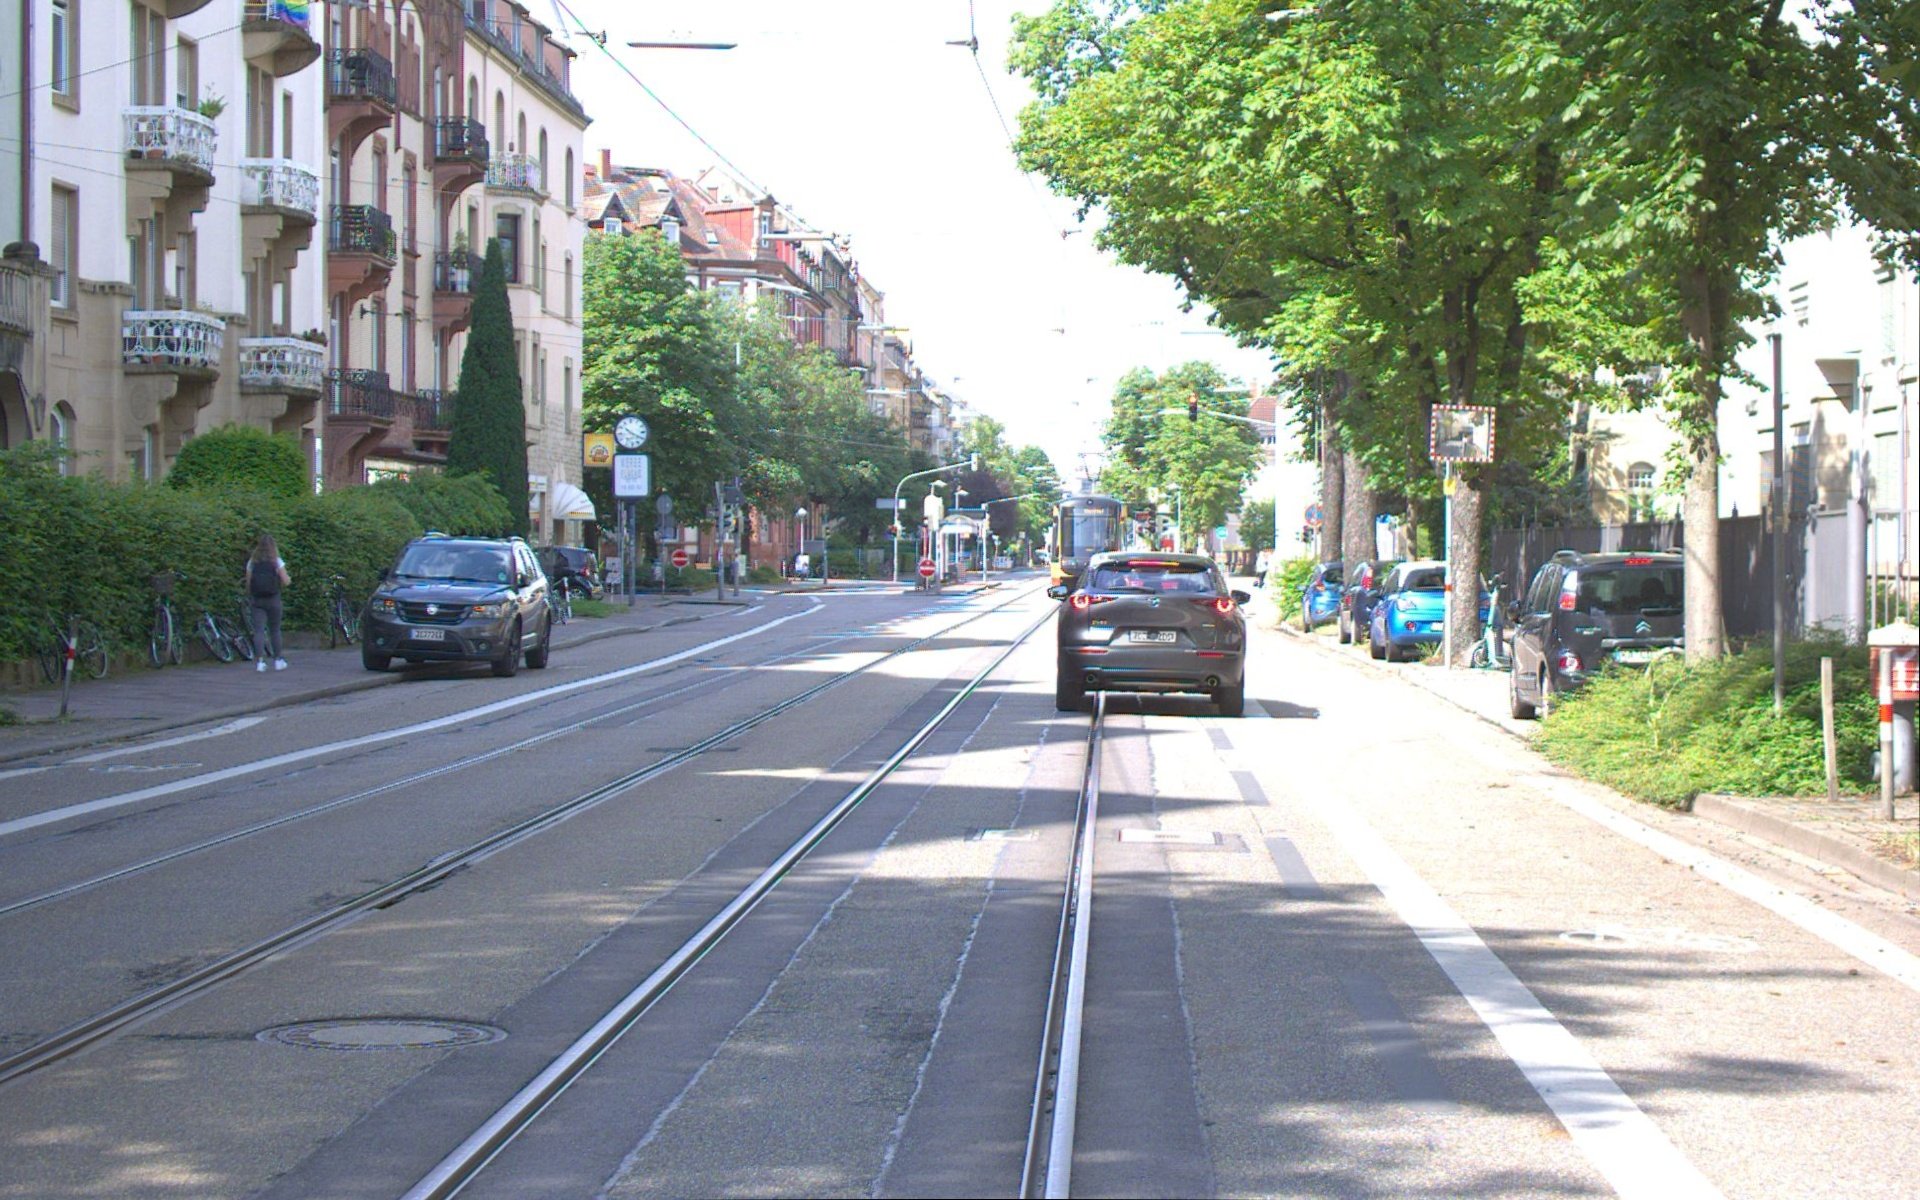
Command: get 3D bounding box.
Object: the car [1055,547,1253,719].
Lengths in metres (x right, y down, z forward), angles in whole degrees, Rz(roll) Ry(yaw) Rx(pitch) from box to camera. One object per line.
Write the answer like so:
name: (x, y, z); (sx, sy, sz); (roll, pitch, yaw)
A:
car: (1.852, 0.270, 34.026); (1.789, 1.507, 4.351); (1, 1, 2)

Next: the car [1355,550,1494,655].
car: (6.931, 0.014, 51.570); (1.639, 1.491, 3.627); (-1, 1, 1)

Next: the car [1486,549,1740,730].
car: (6.164, 0.338, 32.858); (1.697, 1.585, 4.203); (-1, 0, 1)

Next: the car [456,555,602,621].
car: (-10.630, -0.295, 84.956); (3.237, 1.508, 1.678); (2, 1, 6)

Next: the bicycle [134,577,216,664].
bicycle: (-9.158, 0.227, 40.160); (0.383, 0.956, 1.810); (2, 1, 4)

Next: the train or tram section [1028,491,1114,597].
train or tram section: (3.808, -1.910, 119.736); (2.652, 3.516, 8.497); (0, 0, 0)

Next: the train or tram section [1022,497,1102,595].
train or tram section: (3.737, -1.982, 128.228); (2.652, 3.516, 8.497); (0, 0, 0)

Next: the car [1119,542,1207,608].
car: (4.723, -0.616, 80.470); (1.785, 1.487, 4.883); (0, 1, 0)

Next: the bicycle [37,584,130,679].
bicycle: (-9.384, 0.324, 36.857); (0.383, 0.956, 1.810); (2, 1, 4)

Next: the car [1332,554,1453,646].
car: (7.447, -0.025, 59.467); (1.639, 1.491, 3.758); (-1, 1, 1)

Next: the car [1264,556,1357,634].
car: (7.108, -0.125, 69.904); (1.624, 1.491, 3.847); (-1, 1, 3)

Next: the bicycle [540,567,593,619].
bicycle: (-7.696, -0.126, 67.293); (0.511, 0.956, 1.814); (3, -1, 9)

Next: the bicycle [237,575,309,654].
bicycle: (-8.859, 0.178, 44.380); (0.383, 0.956, 1.921); (2, 1, 4)

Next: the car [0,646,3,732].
car: (-9.852, 0.403, 27.170); (3.959, 1.479, 1.846); (-3, 1, -40)

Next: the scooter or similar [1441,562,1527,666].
scooter or similar: (6.803, 0.177, 44.637); (0.440, 1.295, 1.182); (-4, 3, -28)

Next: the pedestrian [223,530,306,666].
pedestrian: (-8.205, -0.026, 40.582); (0.680, 1.563, 0.882); (2, 1, 5)

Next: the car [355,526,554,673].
car: (-6.335, -0.049, 43.545); (1.785, 1.756, 4.883); (0, 1, 0)

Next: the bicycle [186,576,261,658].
bicycle: (-9.040, 0.200, 42.248); (0.383, 0.956, 1.810); (2, 1, 4)
